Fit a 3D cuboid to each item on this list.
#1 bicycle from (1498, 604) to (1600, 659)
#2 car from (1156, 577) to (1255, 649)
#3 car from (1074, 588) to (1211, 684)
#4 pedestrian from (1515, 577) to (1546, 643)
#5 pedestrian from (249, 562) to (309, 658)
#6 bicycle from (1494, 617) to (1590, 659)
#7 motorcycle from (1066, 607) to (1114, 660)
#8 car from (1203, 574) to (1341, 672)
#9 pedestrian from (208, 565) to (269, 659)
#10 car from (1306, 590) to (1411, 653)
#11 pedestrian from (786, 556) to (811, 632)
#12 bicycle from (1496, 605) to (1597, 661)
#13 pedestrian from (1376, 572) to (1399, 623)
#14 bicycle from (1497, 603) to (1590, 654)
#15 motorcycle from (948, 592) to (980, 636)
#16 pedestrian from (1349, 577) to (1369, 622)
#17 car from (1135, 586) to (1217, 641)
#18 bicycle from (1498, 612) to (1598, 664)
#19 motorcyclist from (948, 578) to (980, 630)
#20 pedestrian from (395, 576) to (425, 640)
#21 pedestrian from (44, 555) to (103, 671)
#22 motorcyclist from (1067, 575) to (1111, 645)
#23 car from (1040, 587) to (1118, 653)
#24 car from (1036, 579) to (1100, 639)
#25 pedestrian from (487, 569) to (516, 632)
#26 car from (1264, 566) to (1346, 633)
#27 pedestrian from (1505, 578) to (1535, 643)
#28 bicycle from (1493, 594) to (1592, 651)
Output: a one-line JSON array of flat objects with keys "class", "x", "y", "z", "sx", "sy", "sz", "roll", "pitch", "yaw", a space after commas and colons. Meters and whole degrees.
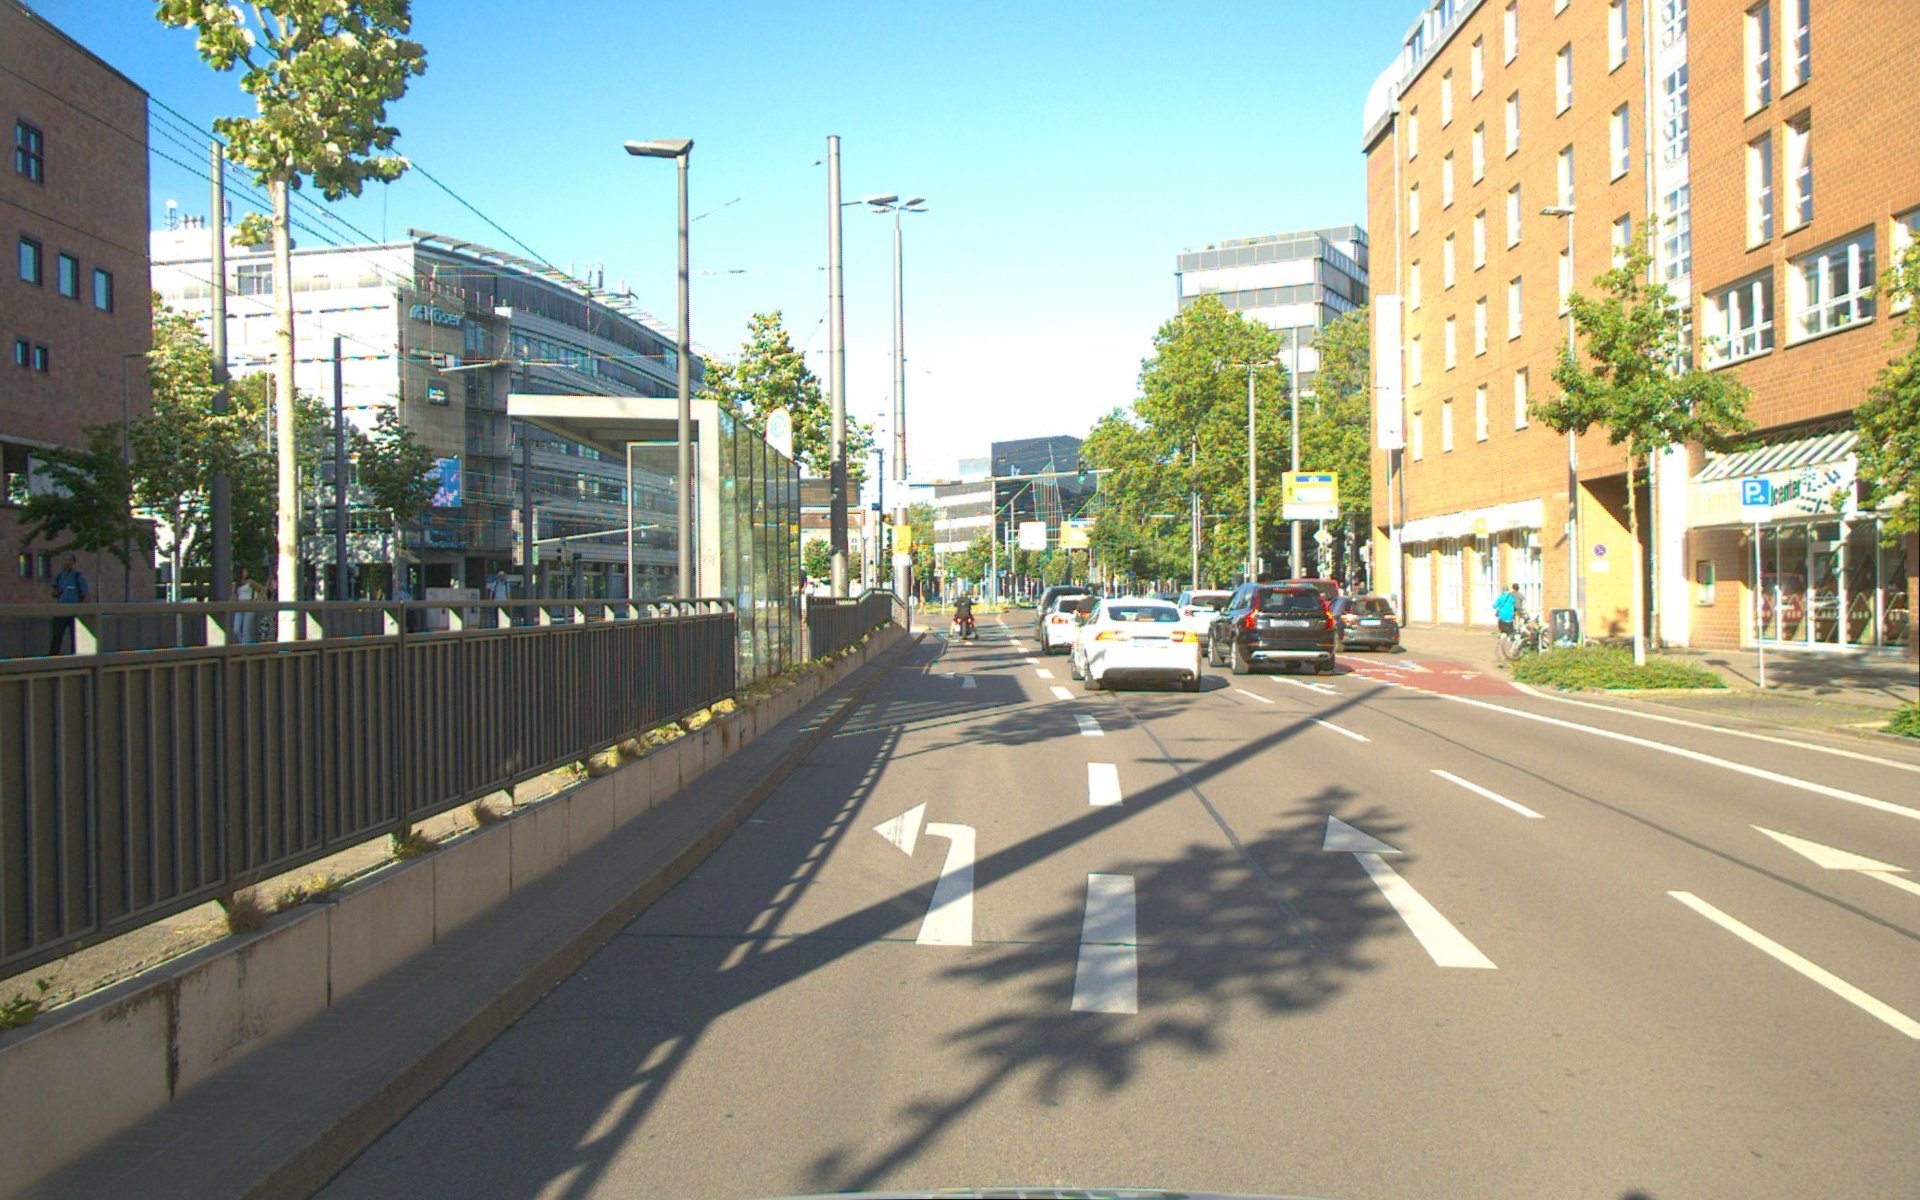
[{"class": "bicycle", "x": 11.894, "y": 0.639, "z": 33.459, "sx": 1.904, "sy": 1.040, "sz": 0.502, "roll": -2, "pitch": -1, "yaw": 18}, {"class": "car", "x": 6.006, "y": 0.300, "z": 40.860, "sx": 1.813, "sy": 1.668, "sz": 4.379, "roll": -1, "pitch": 0, "yaw": 0}, {"class": "car", "x": 2.943, "y": 0.531, "z": 27.552, "sx": 1.744, "sy": 1.439, "sz": 4.819, "roll": 1, "pitch": 0, "yaw": 0}, {"class": "pedestrian", "x": 16.203, "y": 0.276, "z": 46.997, "sx": 0.594, "sy": 1.853, "sz": 0.748, "roll": -1, "pitch": 0, "yaw": 0}, {"class": "pedestrian", "x": -12.132, "y": 0.180, "z": 29.480, "sx": 0.627, "sy": 1.672, "sz": 0.945, "roll": 1, "pitch": 0, "yaw": 1}, {"class": "bicycle", "x": 12.725, "y": 0.835, "z": 36.161, "sx": 1.907, "sy": 0.850, "sz": 0.554, "roll": -2, "pitch": -1, "yaw": 27}, {"class": "motorcycle", "x": 2.834, "y": 0.718, "z": 36.238, "sx": 0.820, "sy": 1.081, "sz": 2.552, "roll": -1, "pitch": 0, "yaw": -1}, {"class": "car", "x": 6.182, "y": 0.409, "z": 33.245, "sx": 1.934, "sy": 1.790, "sz": 4.633, "roll": 1, "pitch": 0, "yaw": 1}, {"class": "pedestrian", "x": -12.856, "y": 0.211, "z": 29.490, "sx": 0.627, "sy": 1.636, "sz": 0.945, "roll": 1, "pitch": 0, "yaw": 1}, {"class": "car", "x": 10.824, "y": 0.545, "z": 45.244, "sx": 1.808, "sy": 1.588, "sz": 4.633, "roll": 1, "pitch": 0, "yaw": 1}, {"class": "pedestrian", "x": -3.612, "y": -0.139, "z": 37.047, "sx": 0.509, "sy": 1.698, "sz": 0.550, "roll": 0, "pitch": 0, "yaw": 1}, {"class": "bicycle", "x": 12.278, "y": 0.690, "z": 34.681, "sx": 1.903, "sy": 1.094, "sz": 0.555, "roll": -2, "pitch": -1, "yaw": 11}, {"class": "pedestrian", "x": 15.537, "y": -0.088, "z": 60.138, "sx": 0.594, "sy": 1.853, "sz": 0.748, "roll": -1, "pitch": 0, "yaw": 0}, {"class": "bicycle", "x": 13.242, "y": 0.647, "z": 37.579, "sx": 1.903, "sy": 1.093, "sz": 0.626, "roll": -2, "pitch": -1, "yaw": 12}, {"class": "motorcycle", "x": 0.144, "y": 0.430, "z": 53.140, "sx": 0.998, "sy": 1.335, "sz": 2.915, "roll": 1, "pitch": 0, "yaw": 1}, {"class": "pedestrian", "x": 16.508, "y": -0.010, "z": 68.424, "sx": 0.594, "sy": 1.853, "sz": 0.748, "roll": -1, "pitch": 0, "yaw": 0}, {"class": "car", "x": 6.180, "y": 0.355, "z": 47.702, "sx": 1.813, "sy": 1.524, "sz": 4.379, "roll": 0, "pitch": 1, "yaw": 0}, {"class": "bicycle", "x": 12.060, "y": 0.782, "z": 33.972, "sx": 1.904, "sy": 0.986, "sz": 0.554, "roll": -2, "pitch": -1, "yaw": 18}, {"class": "motorcyclist", "x": 0.144, "y": 0.131, "z": 53.220, "sx": 0.998, "sy": 1.631, "sz": 1.148, "roll": 1, "pitch": 0, "yaw": 1}, {"class": "pedestrian", "x": -14.280, "y": 0.202, "z": 42.941, "sx": 0.552, "sy": 1.637, "sz": 0.616, "roll": 0, "pitch": 0, "yaw": 1}, {"class": "pedestrian", "x": -13.745, "y": 0.194, "z": 25.662, "sx": 0.570, "sy": 1.768, "sz": 0.616, "roll": 0, "pitch": 0, "yaw": 1}, {"class": "motorcyclist", "x": 2.816, "y": 0.207, "z": 36.201, "sx": 0.820, "sy": 1.501, "sz": 1.236, "roll": -1, "pitch": 0, "yaw": -1}, {"class": "car", "x": 2.934, "y": 0.457, "z": 41.510, "sx": 1.658, "sy": 1.523, "sz": 4.409, "roll": 1, "pitch": 0, "yaw": 1}, {"class": "car", "x": 3.247, "y": 0.249, "z": 50.314, "sx": 1.761, "sy": 1.735, "sz": 4.063, "roll": 0, "pitch": 0, "yaw": 1}, {"class": "pedestrian", "x": -13.463, "y": 0.015, "z": 48.603, "sx": 0.601, "sy": 1.849, "sz": 0.897, "roll": 0, "pitch": 0, "yaw": 1}, {"class": "car", "x": 10.880, "y": -0.027, "z": 52.390, "sx": 1.822, "sy": 1.995, "sz": 4.001, "roll": -1, "pitch": 0, "yaw": 2}, {"class": "pedestrian", "x": 16.109, "y": 0.298, "z": 47.570, "sx": 0.594, "sy": 1.853, "sz": 0.748, "roll": -1, "pitch": 0, "yaw": 0}, {"class": "bicycle", "x": 12.380, "y": 0.480, "z": 35.202, "sx": 1.903, "sy": 1.157, "sz": 0.491, "roll": -2, "pitch": -1, "yaw": 11}]
